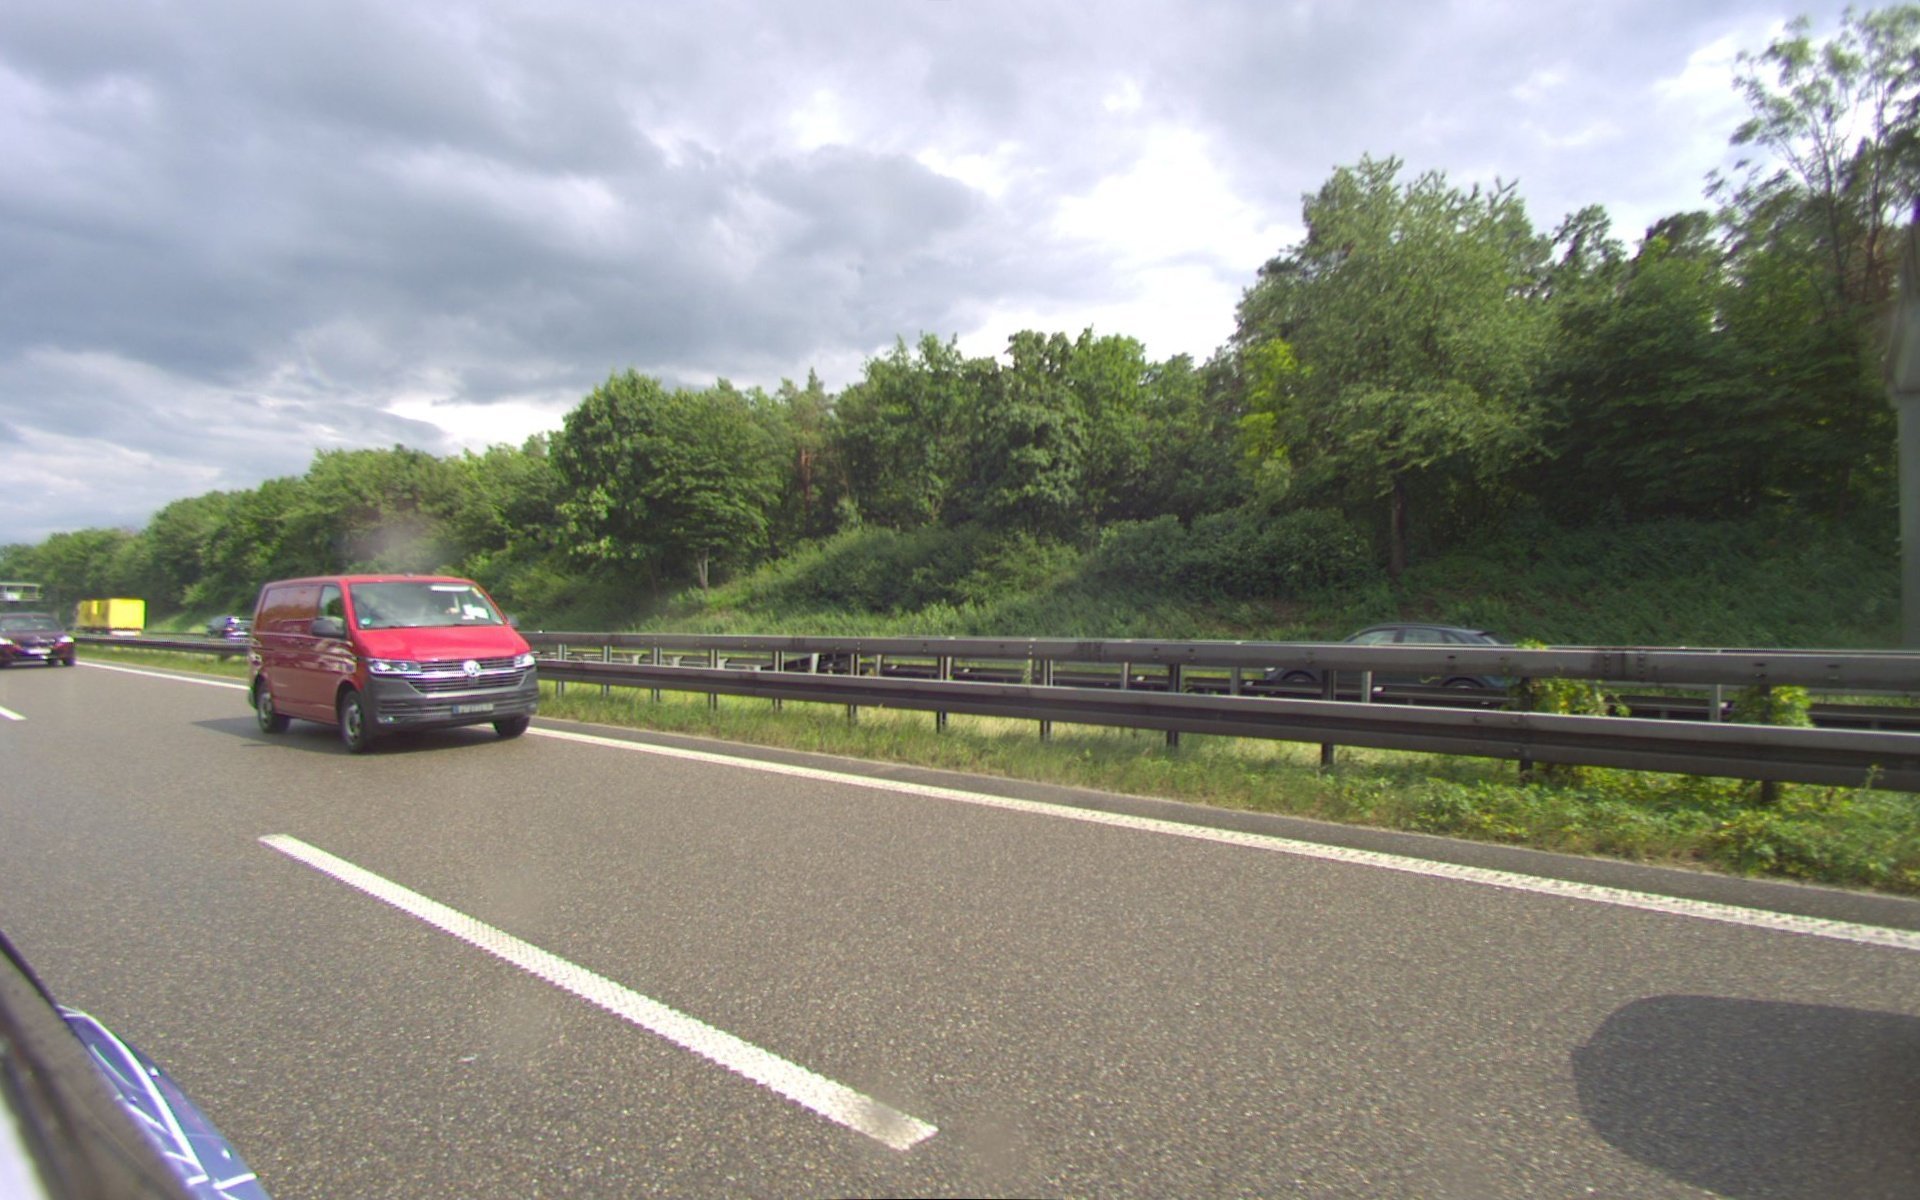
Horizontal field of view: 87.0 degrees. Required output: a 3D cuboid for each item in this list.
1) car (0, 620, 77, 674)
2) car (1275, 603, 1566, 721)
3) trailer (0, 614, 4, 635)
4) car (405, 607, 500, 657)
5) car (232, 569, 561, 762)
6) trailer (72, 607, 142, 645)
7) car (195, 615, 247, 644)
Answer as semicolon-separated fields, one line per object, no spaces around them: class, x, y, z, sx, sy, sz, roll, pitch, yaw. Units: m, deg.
car;-29.058;1.410;31.286;4.836;1.508;1.983;-1;0;41
car;7.538;0.933;16.750;3.998;1.688;1.973;-1;0;41
trailer;-187.278;4.703;194.743;17.941;3.860;2.959;-1;0;41
car;-25.121;1.532;49.999;5.977;2.266;2.122;-1;0;41
car;-6.929;0.661;12.195;4.836;1.880;1.902;-1;0;41
trailer;-88.652;2.656;105.034;16.662;3.672;2.695;-1;0;40
car;-45.302;1.796;62.014;3.998;1.646;1.729;-1;0;41
